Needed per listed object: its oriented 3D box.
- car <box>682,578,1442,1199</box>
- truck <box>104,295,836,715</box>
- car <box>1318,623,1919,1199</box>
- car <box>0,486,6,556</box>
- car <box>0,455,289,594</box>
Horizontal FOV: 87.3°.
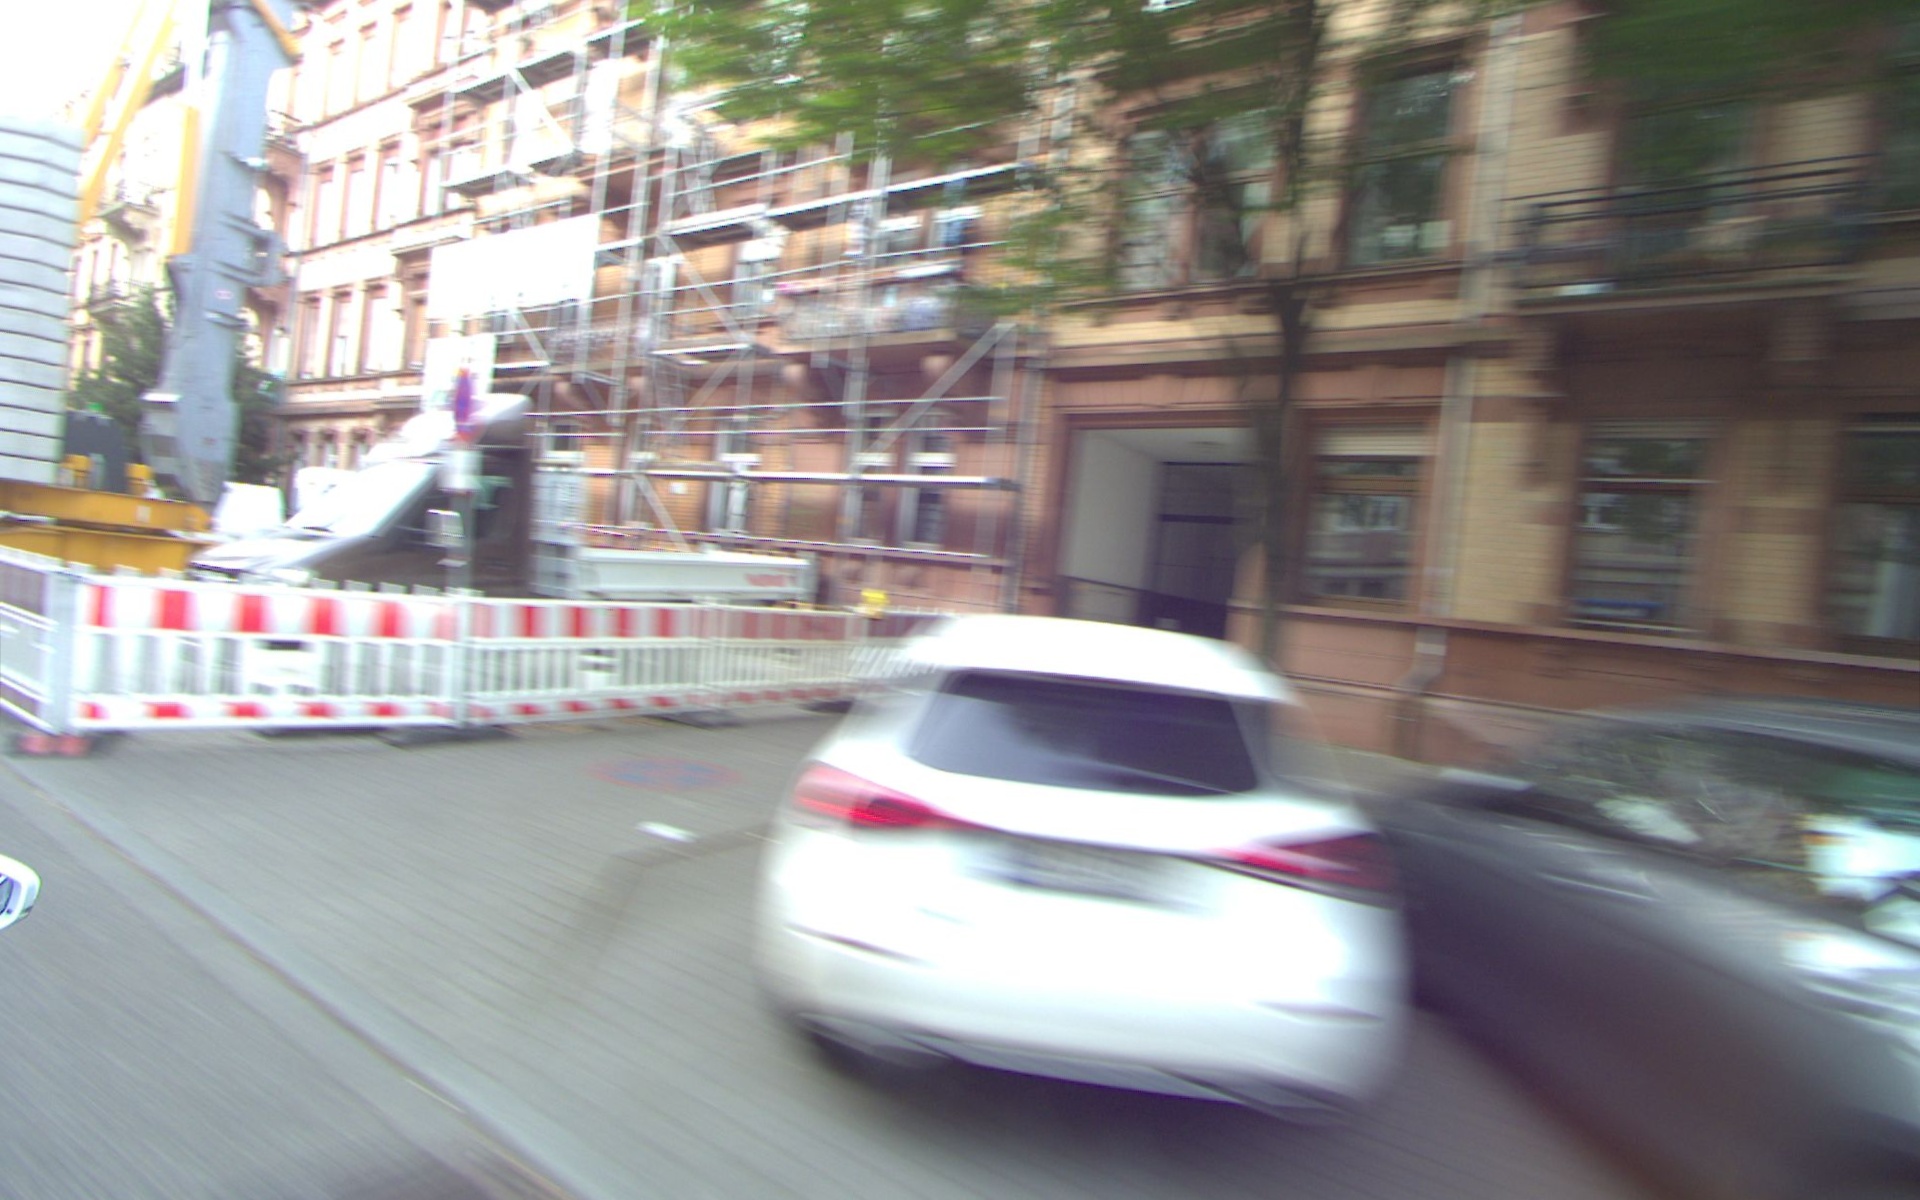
[{"bbox_3d":[0.285,0.746,4.377,1.653,1.508,3.992,6,1,2],"label":"car"},{"bbox_3d":[-4.694,-0.525,10.956,2.487,3.112,6.480,6,-2,38],"label":"truck"},{"bbox_3d":[2.680,1.000,2.692,1.797,1.508,4.166,6,1,0],"label":"car"},{"bbox_3d":[-22.304,-1.872,20.429,1.812,1.535,3.868,7,0,10],"label":"car"},{"bbox_3d":[-14.795,-1.299,17.158,1.869,1.982,5.170,8,3,34],"label":"car"}]
